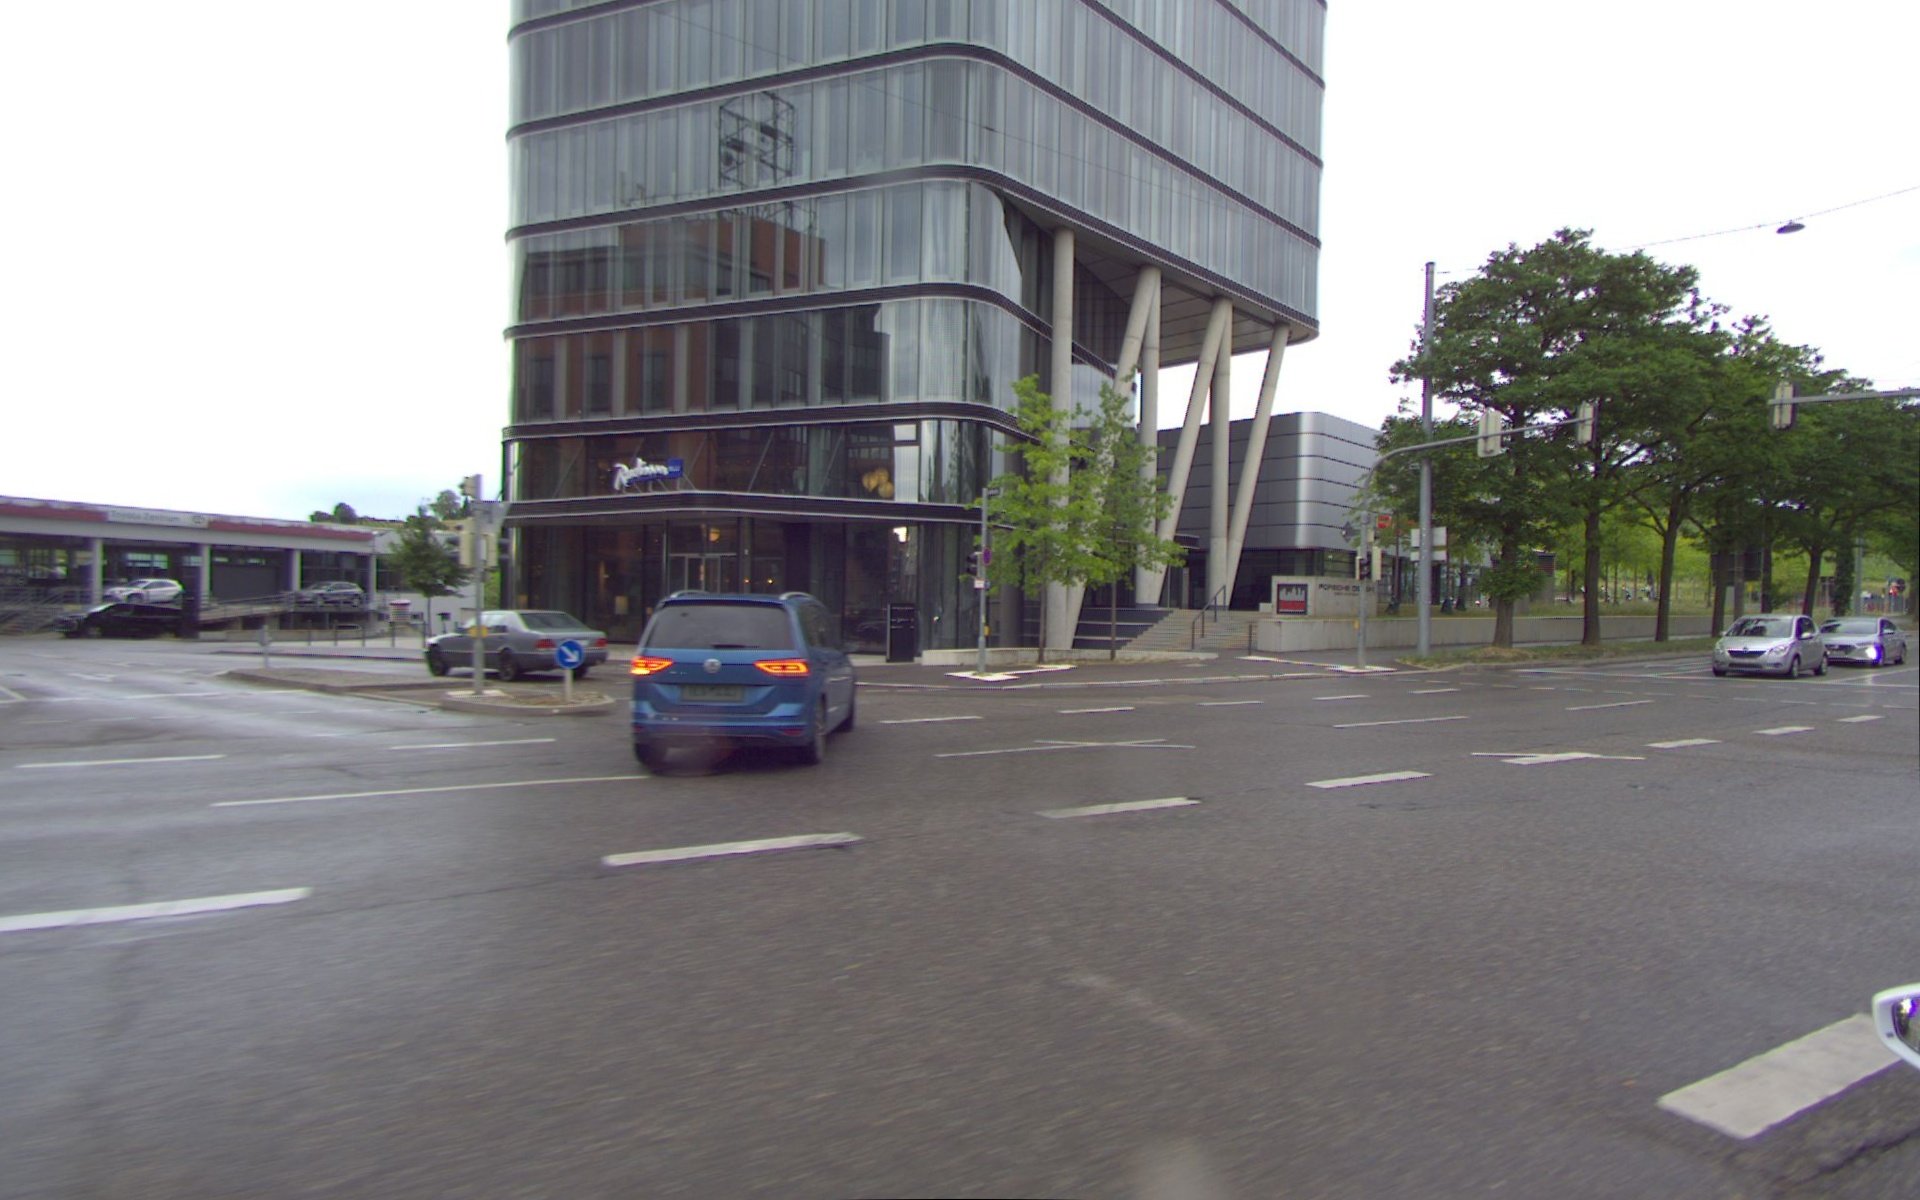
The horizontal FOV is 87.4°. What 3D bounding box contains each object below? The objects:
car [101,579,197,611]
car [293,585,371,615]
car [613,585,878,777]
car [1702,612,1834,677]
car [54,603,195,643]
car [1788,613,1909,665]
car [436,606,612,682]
[{"bbox_3d":[-45.466,-0.237,56.413,1.782,1.672,3.815,0,-1,22],"label":"car"},{"bbox_3d":[-40.707,0.013,65.186,1.765,1.874,3.999,0,-1,22],"label":"car"},{"bbox_3d":[-2.021,0.730,10.742,1.742,1.617,4.199,1,-1,3],"label":"car"},{"bbox_3d":[20.635,1.076,25.625,3.781,1.540,1.738,0,-1,-37],"label":"car"},{"bbox_3d":[-40.667,1.156,49.070,1.764,1.840,4.998,0,-2,26],"label":"car"},{"bbox_3d":[26.690,1.117,30.139,4.611,1.430,1.802,0,-1,-37],"label":"car"},{"bbox_3d":[-9.788,0.924,22.460,3.982,1.530,1.846,0,-1,36],"label":"car"}]
